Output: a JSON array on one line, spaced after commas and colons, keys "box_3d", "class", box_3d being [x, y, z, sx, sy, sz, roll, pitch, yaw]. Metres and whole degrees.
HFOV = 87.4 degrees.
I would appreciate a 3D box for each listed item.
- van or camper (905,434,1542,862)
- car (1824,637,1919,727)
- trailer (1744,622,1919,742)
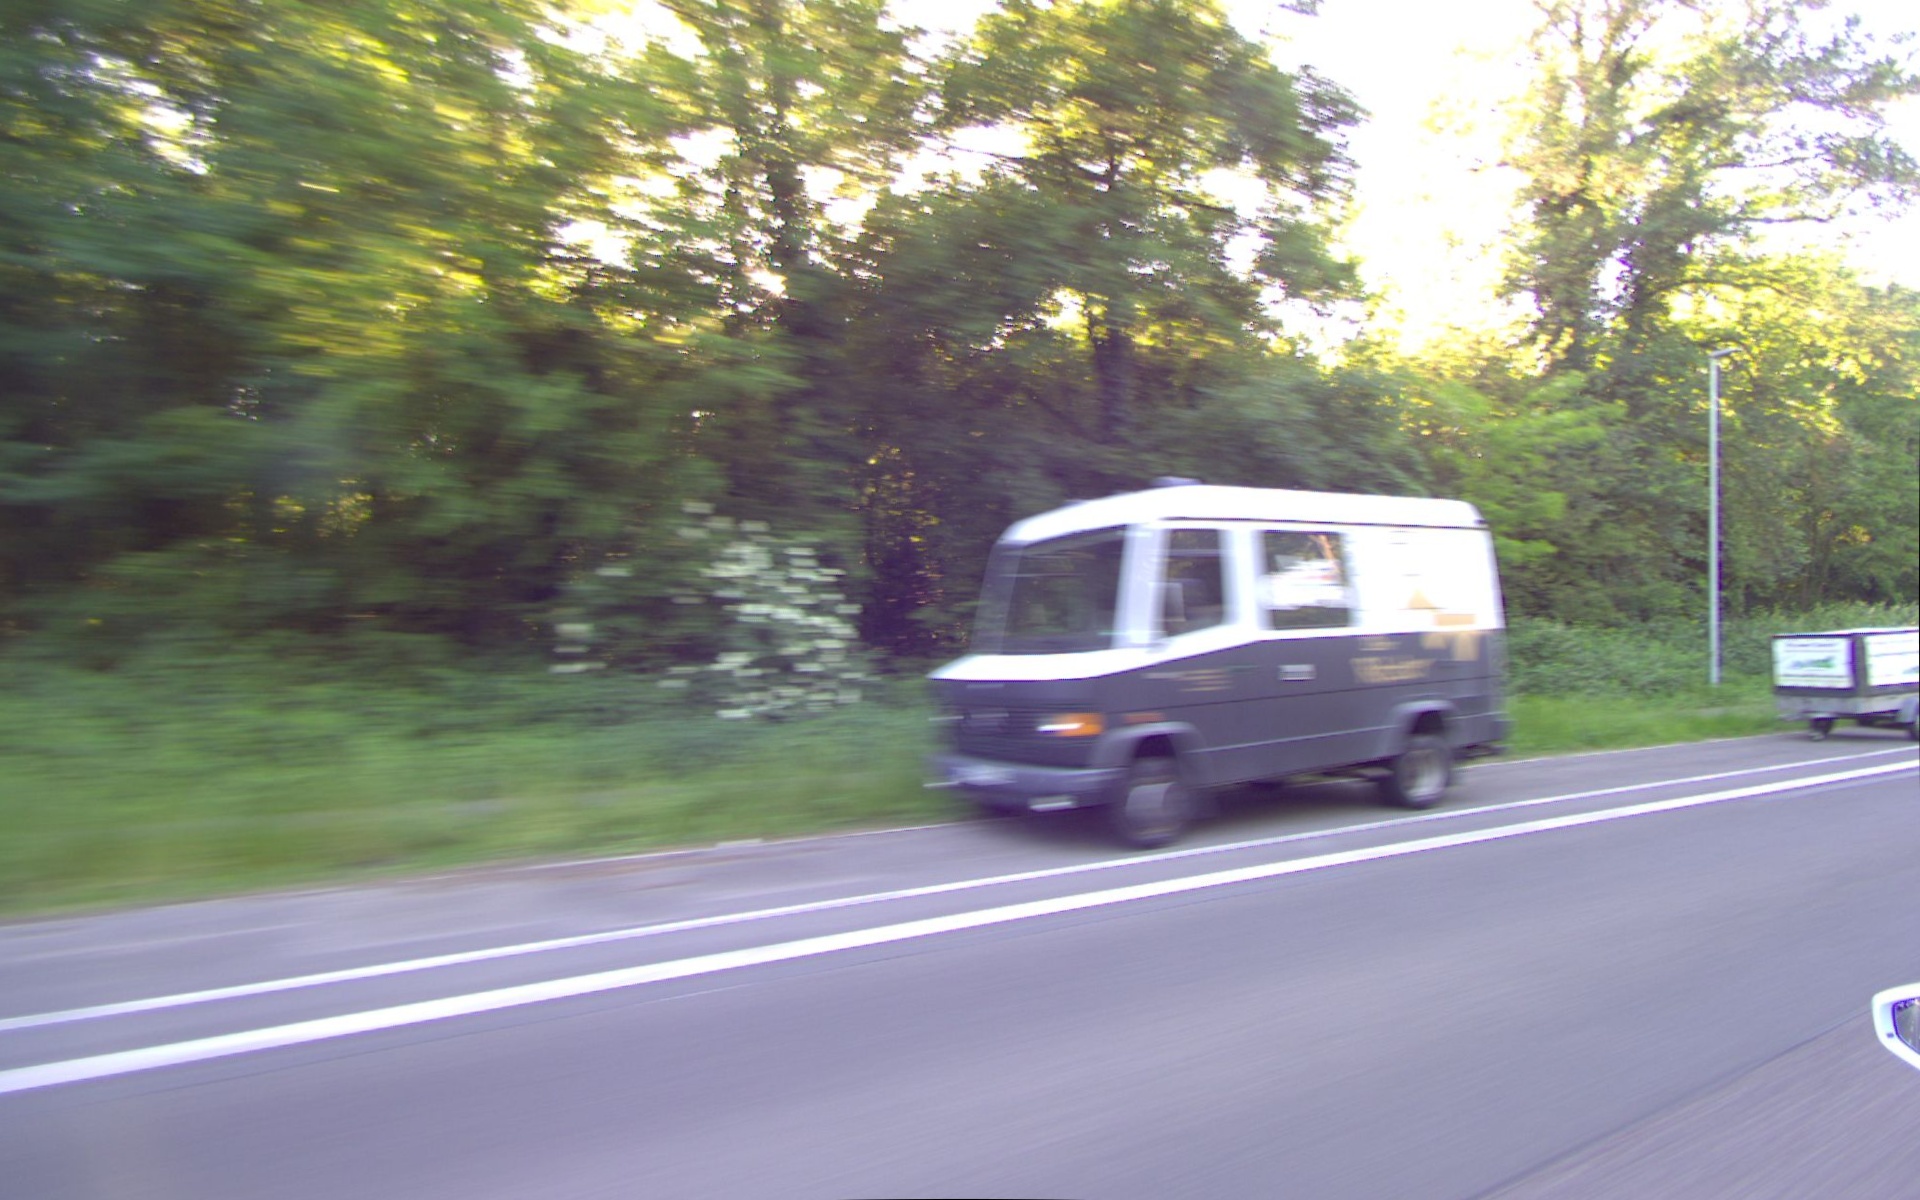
[{"box_3d": [2.464, 0.412, 8.988, 5.492, 2.804, 2.291, 1, -3, -31], "class": "van or camper"}, {"box_3d": [17.447, 1.416, 17.872, 4.084, 1.482, 1.860, 1, -4, -30], "class": "car"}, {"box_3d": [13.927, 1.222, 15.335, 3.312, 1.681, 1.470, 1, -3, -18], "class": "trailer"}]
